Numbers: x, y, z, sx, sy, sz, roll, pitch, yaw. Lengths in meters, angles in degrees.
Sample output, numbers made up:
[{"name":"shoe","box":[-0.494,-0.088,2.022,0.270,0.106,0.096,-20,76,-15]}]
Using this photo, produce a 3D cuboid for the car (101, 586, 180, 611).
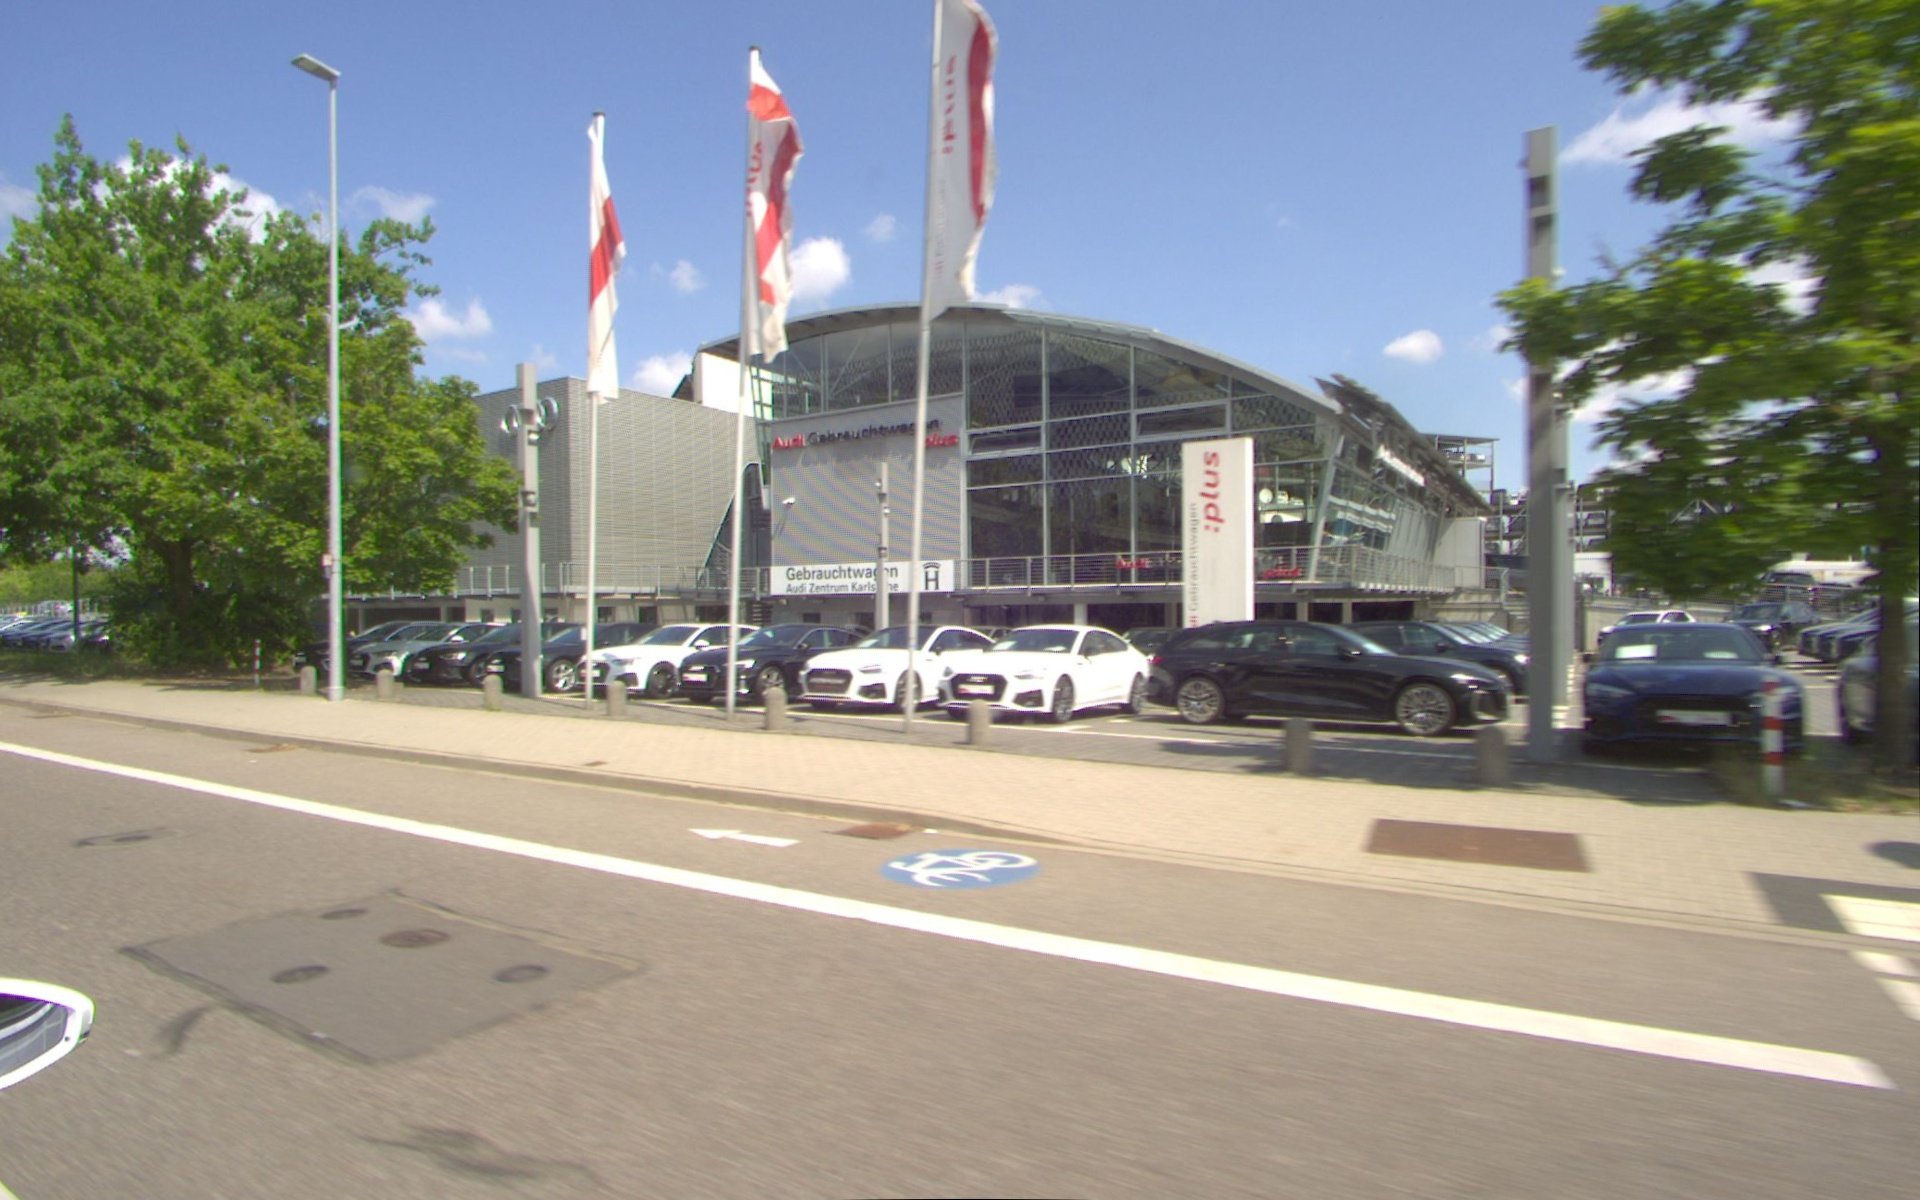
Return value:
[{"name":"car","box":[-62.720,-0.120,76.667,1.909,1.798,4.343,2,0,35]}]

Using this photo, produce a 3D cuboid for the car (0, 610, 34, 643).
[{"name":"car","box":[-47.177,1.276,47.588,1.829,1.533,4.345,0,0,33]}]

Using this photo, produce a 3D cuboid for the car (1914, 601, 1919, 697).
[{"name":"car","box":[18.604,0.905,16.006,4.526,1.700,1.896,2,0,34]}]

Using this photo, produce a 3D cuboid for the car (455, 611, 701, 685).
[{"name":"car","box":[-7.835,1.057,21.006,1.879,1.313,4.571,2,-3,32]}]

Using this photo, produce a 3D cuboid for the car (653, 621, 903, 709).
[{"name":"car","box":[-3.128,1.083,18.163,1.879,1.314,4.567,2,0,32]}]

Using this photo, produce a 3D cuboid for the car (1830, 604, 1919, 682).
[{"name":"car","box":[22.861,1.022,22.656,4.526,1.700,1.896,2,0,34]}]

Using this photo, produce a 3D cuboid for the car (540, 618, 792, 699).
[{"name":"car","box":[-5.498,1.043,19.342,1.879,1.314,4.567,2,0,32]}]

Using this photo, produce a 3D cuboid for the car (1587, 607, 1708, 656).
[{"name":"car","box":[25.716,1.202,37.414,4.524,1.700,1.897,2,0,-29]}]

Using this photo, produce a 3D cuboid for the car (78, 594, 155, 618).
[{"name":"car","box":[-67.016,0.470,79.596,1.909,1.798,4.343,2,0,35]}]

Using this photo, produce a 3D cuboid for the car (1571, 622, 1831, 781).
[{"name":"car","box":[7.915,0.937,11.098,1.879,1.314,4.567,2,0,32]}]

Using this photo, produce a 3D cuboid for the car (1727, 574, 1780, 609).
[{"name":"car","box":[38.675,-0.384,48.879,1.543,1.572,3.585,2,0,32]}]

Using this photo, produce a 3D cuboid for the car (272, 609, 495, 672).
[{"name":"car","box":[-14.532,1.032,25.538,1.879,1.423,4.568,2,-1,32]}]

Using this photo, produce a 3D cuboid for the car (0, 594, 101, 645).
[{"name":"car","box":[-40.306,0.828,43.210,1.879,2.076,4.567,2,0,32]}]

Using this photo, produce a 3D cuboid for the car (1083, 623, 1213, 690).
[{"name":"car","box":[4.961,1.386,25.953,1.880,1.518,4.338,0,0,32]}]

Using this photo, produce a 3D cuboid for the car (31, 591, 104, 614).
[{"name":"car","box":[-75.663,0.219,84.926,1.909,1.798,4.343,2,0,35]}]

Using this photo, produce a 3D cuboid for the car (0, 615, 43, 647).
[{"name":"car","box":[-45.108,1.425,46.014,1.829,1.464,4.099,0,-1,33]}]

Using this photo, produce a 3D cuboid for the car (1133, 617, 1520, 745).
[{"name":"car","box":[4.896,1.014,13.628,4.687,1.482,1.788,0,-3,32]}]

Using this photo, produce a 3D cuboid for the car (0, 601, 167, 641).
[{"name":"car","box":[-34.136,0.822,39.130,1.879,1.423,4.567,2,0,32]}]

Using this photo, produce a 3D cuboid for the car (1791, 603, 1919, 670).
[{"name":"car","box":[25.744,1.008,27.309,4.526,1.700,1.896,2,0,34]}]

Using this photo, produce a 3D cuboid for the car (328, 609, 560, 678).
[{"name":"car","box":[-12.172,1.091,23.956,1.879,1.422,4.570,2,-3,32]}]

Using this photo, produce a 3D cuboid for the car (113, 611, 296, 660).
[{"name":"car","box":[-25.298,1.147,33.695,1.880,1.518,4.566,0,0,32]}]

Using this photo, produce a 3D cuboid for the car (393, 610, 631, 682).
[{"name":"car","box":[-9.877,1.036,22.436,1.879,1.401,4.569,2,-2,32]}]

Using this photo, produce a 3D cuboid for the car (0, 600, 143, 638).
[{"name":"car","box":[-36.267,0.765,40.577,1.879,1.423,4.567,2,0,32]}]

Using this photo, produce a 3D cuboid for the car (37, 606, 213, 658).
[{"name":"car","box":[-30.202,1.143,36.383,1.879,1.700,4.567,2,0,32]}]

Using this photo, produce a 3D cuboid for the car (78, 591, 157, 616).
[{"name":"car","box":[-65.319,0.280,77.662,1.909,1.798,4.343,2,0,35]}]

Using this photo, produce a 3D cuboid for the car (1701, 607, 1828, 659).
[{"name":"car","box":[28.316,1.169,35.233,4.524,1.700,1.897,2,0,-29]}]

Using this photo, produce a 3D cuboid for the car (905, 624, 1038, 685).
[{"name":"car","box":[0.419,1.503,28.885,1.880,1.518,4.338,0,0,32]}]

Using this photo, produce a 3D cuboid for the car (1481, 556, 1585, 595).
[{"name":"car","box":[28.597,-1.237,50.059,4.390,1.825,1.756,2,0,32]}]

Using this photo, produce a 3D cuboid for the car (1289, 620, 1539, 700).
[{"name":"car","box":[9.677,1.240,21.446,4.687,1.529,1.977,0,-3,32]}]

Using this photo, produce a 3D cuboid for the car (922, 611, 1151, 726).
[{"name":"car","box":[1.285,1.007,15.014,1.770,1.482,3.983,0,-3,32]}]

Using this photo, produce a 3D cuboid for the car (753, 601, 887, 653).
[{"name":"car","box":[-4.327,0.799,31.621,1.880,1.518,4.338,0,0,32]}]

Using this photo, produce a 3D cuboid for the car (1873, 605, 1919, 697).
[{"name":"car","box":[19.982,1.023,18.342,4.526,1.700,1.896,2,0,34]}]

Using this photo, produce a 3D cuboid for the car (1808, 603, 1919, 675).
[{"name":"car","box":[24.198,1.000,24.865,4.526,1.700,1.896,2,0,34]}]

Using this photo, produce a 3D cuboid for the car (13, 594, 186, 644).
[{"name":"car","box":[-32.218,0.714,37.629,1.879,1.700,4.567,2,0,32]}]

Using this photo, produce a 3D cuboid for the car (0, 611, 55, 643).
[{"name":"car","box":[-43.106,1.199,44.421,1.792,1.422,4.099,0,0,32]}]

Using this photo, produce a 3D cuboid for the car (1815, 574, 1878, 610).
[{"name":"car","box":[41.075,-0.359,46.473,1.543,1.572,3.585,2,0,32]}]

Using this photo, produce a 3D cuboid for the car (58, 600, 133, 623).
[{"name":"car","box":[-71.110,0.994,82.395,1.909,1.798,4.343,2,0,35]}]

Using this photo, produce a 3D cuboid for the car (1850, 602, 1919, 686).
[{"name":"car","box":[21.482,0.969,20.553,4.526,1.700,1.896,2,0,34]}]

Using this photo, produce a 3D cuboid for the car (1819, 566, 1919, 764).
[{"name":"car","box":[10.036,0.609,9.693,1.879,1.700,4.567,2,0,32]}]

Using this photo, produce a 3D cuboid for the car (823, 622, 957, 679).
[{"name":"car","box":[-2.046,1.467,30.423,1.880,1.518,4.338,0,0,32]}]

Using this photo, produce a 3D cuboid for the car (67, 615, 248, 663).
[{"name":"car","box":[-27.889,1.310,34.968,1.880,1.518,4.566,0,0,32]}]

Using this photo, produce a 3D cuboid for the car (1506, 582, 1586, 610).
[{"name":"car","box":[35.019,-0.230,59.975,3.934,1.572,1.759,2,0,26]}]

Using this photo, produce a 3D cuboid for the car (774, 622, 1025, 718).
[{"name":"car","box":[-0.835,1.055,16.754,1.879,1.314,4.567,2,0,32]}]

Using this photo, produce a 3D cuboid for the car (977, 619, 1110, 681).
[{"name":"car","box":[2.387,1.295,27.573,1.880,1.518,4.338,0,0,32]}]
